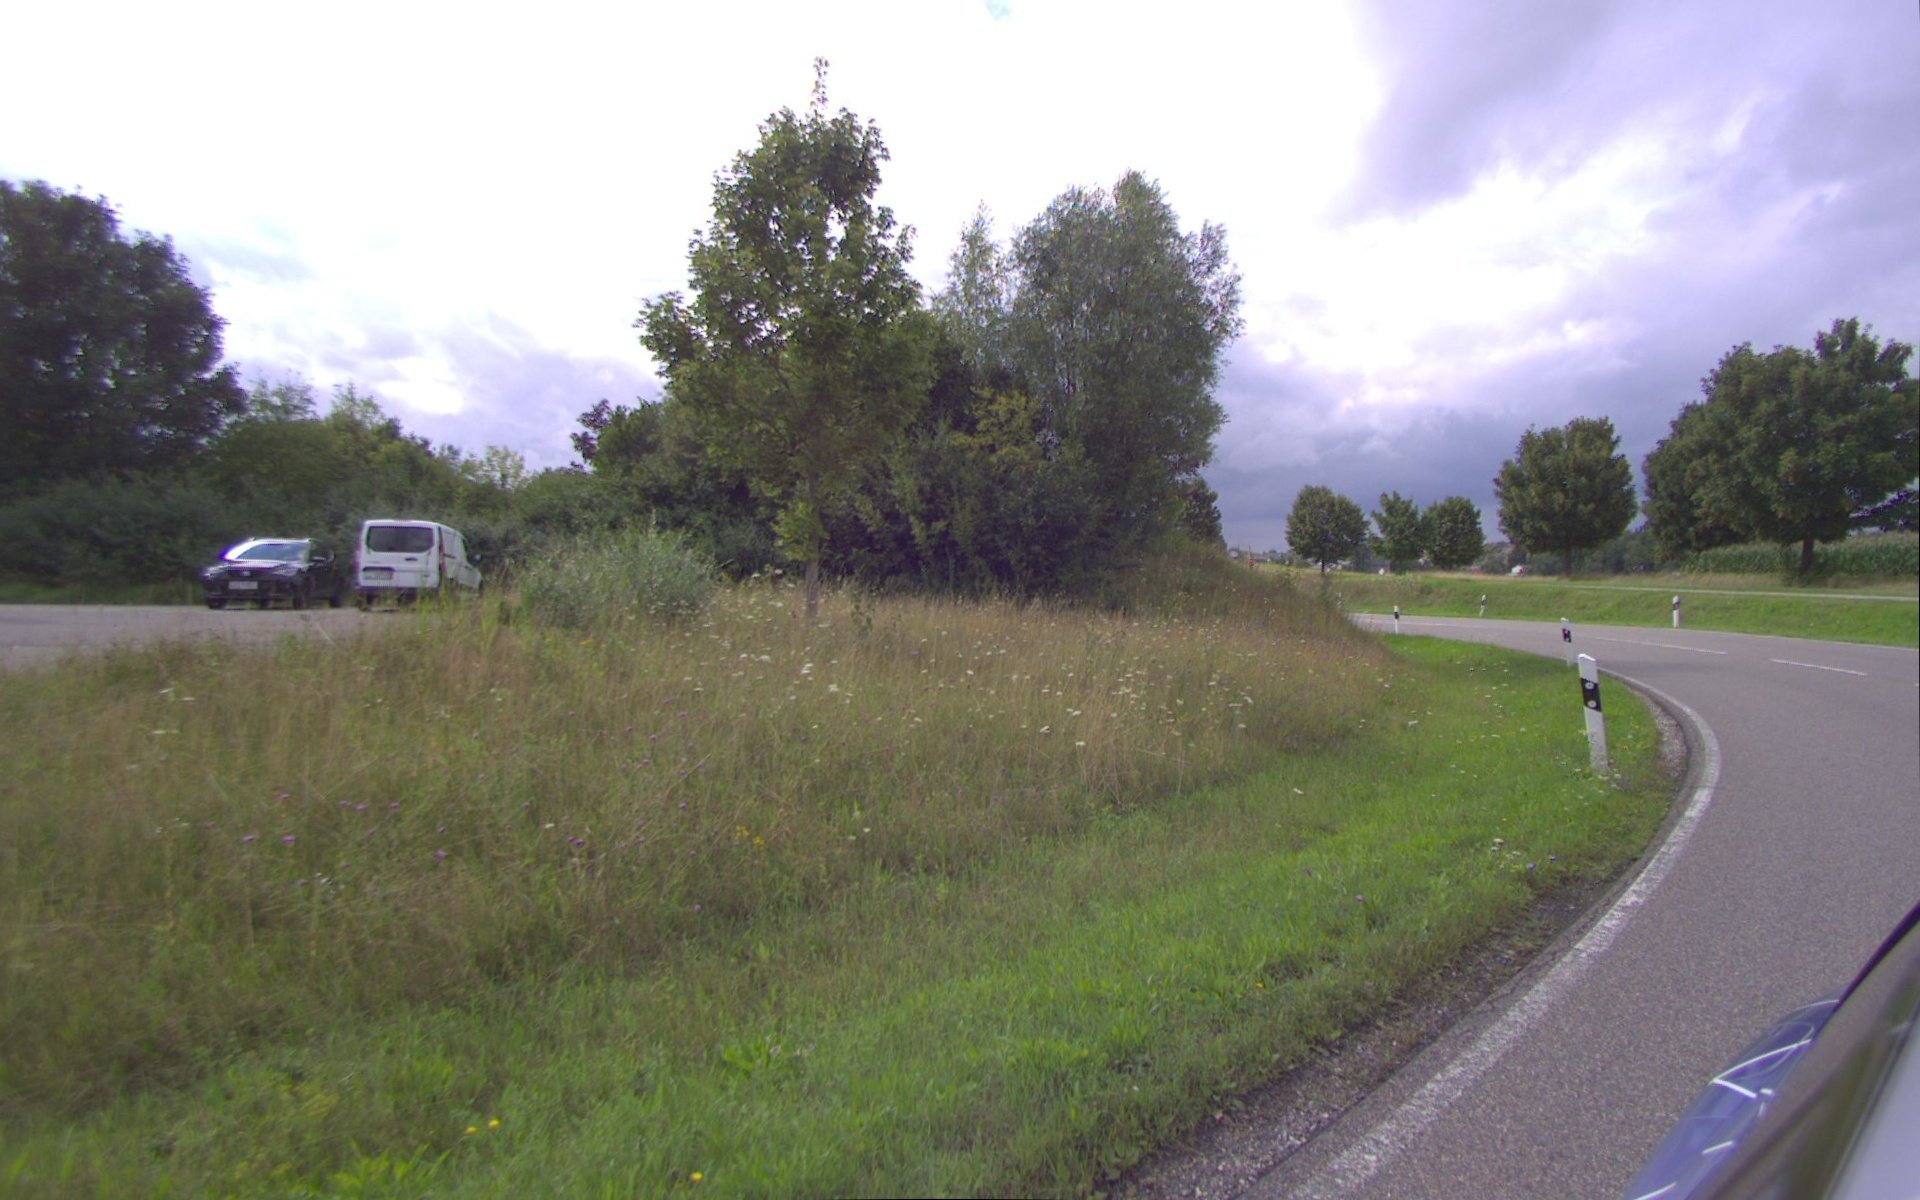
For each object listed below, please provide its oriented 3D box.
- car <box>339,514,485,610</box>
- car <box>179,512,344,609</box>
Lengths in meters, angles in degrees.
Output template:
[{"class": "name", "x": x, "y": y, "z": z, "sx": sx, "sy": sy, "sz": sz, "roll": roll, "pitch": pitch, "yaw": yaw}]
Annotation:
[{"class": "car", "x": -11.740, "y": -0.848, "z": 21.962, "sx": 1.958, "sy": 1.882, "sz": 4.010, "roll": 0, "pitch": 3, "yaw": -16}, {"class": "car", "x": -14.867, "y": -0.870, "z": 21.801, "sx": 1.708, "sy": 1.882, "sz": 4.010, "roll": 0, "pitch": 3, "yaw": -16}]
